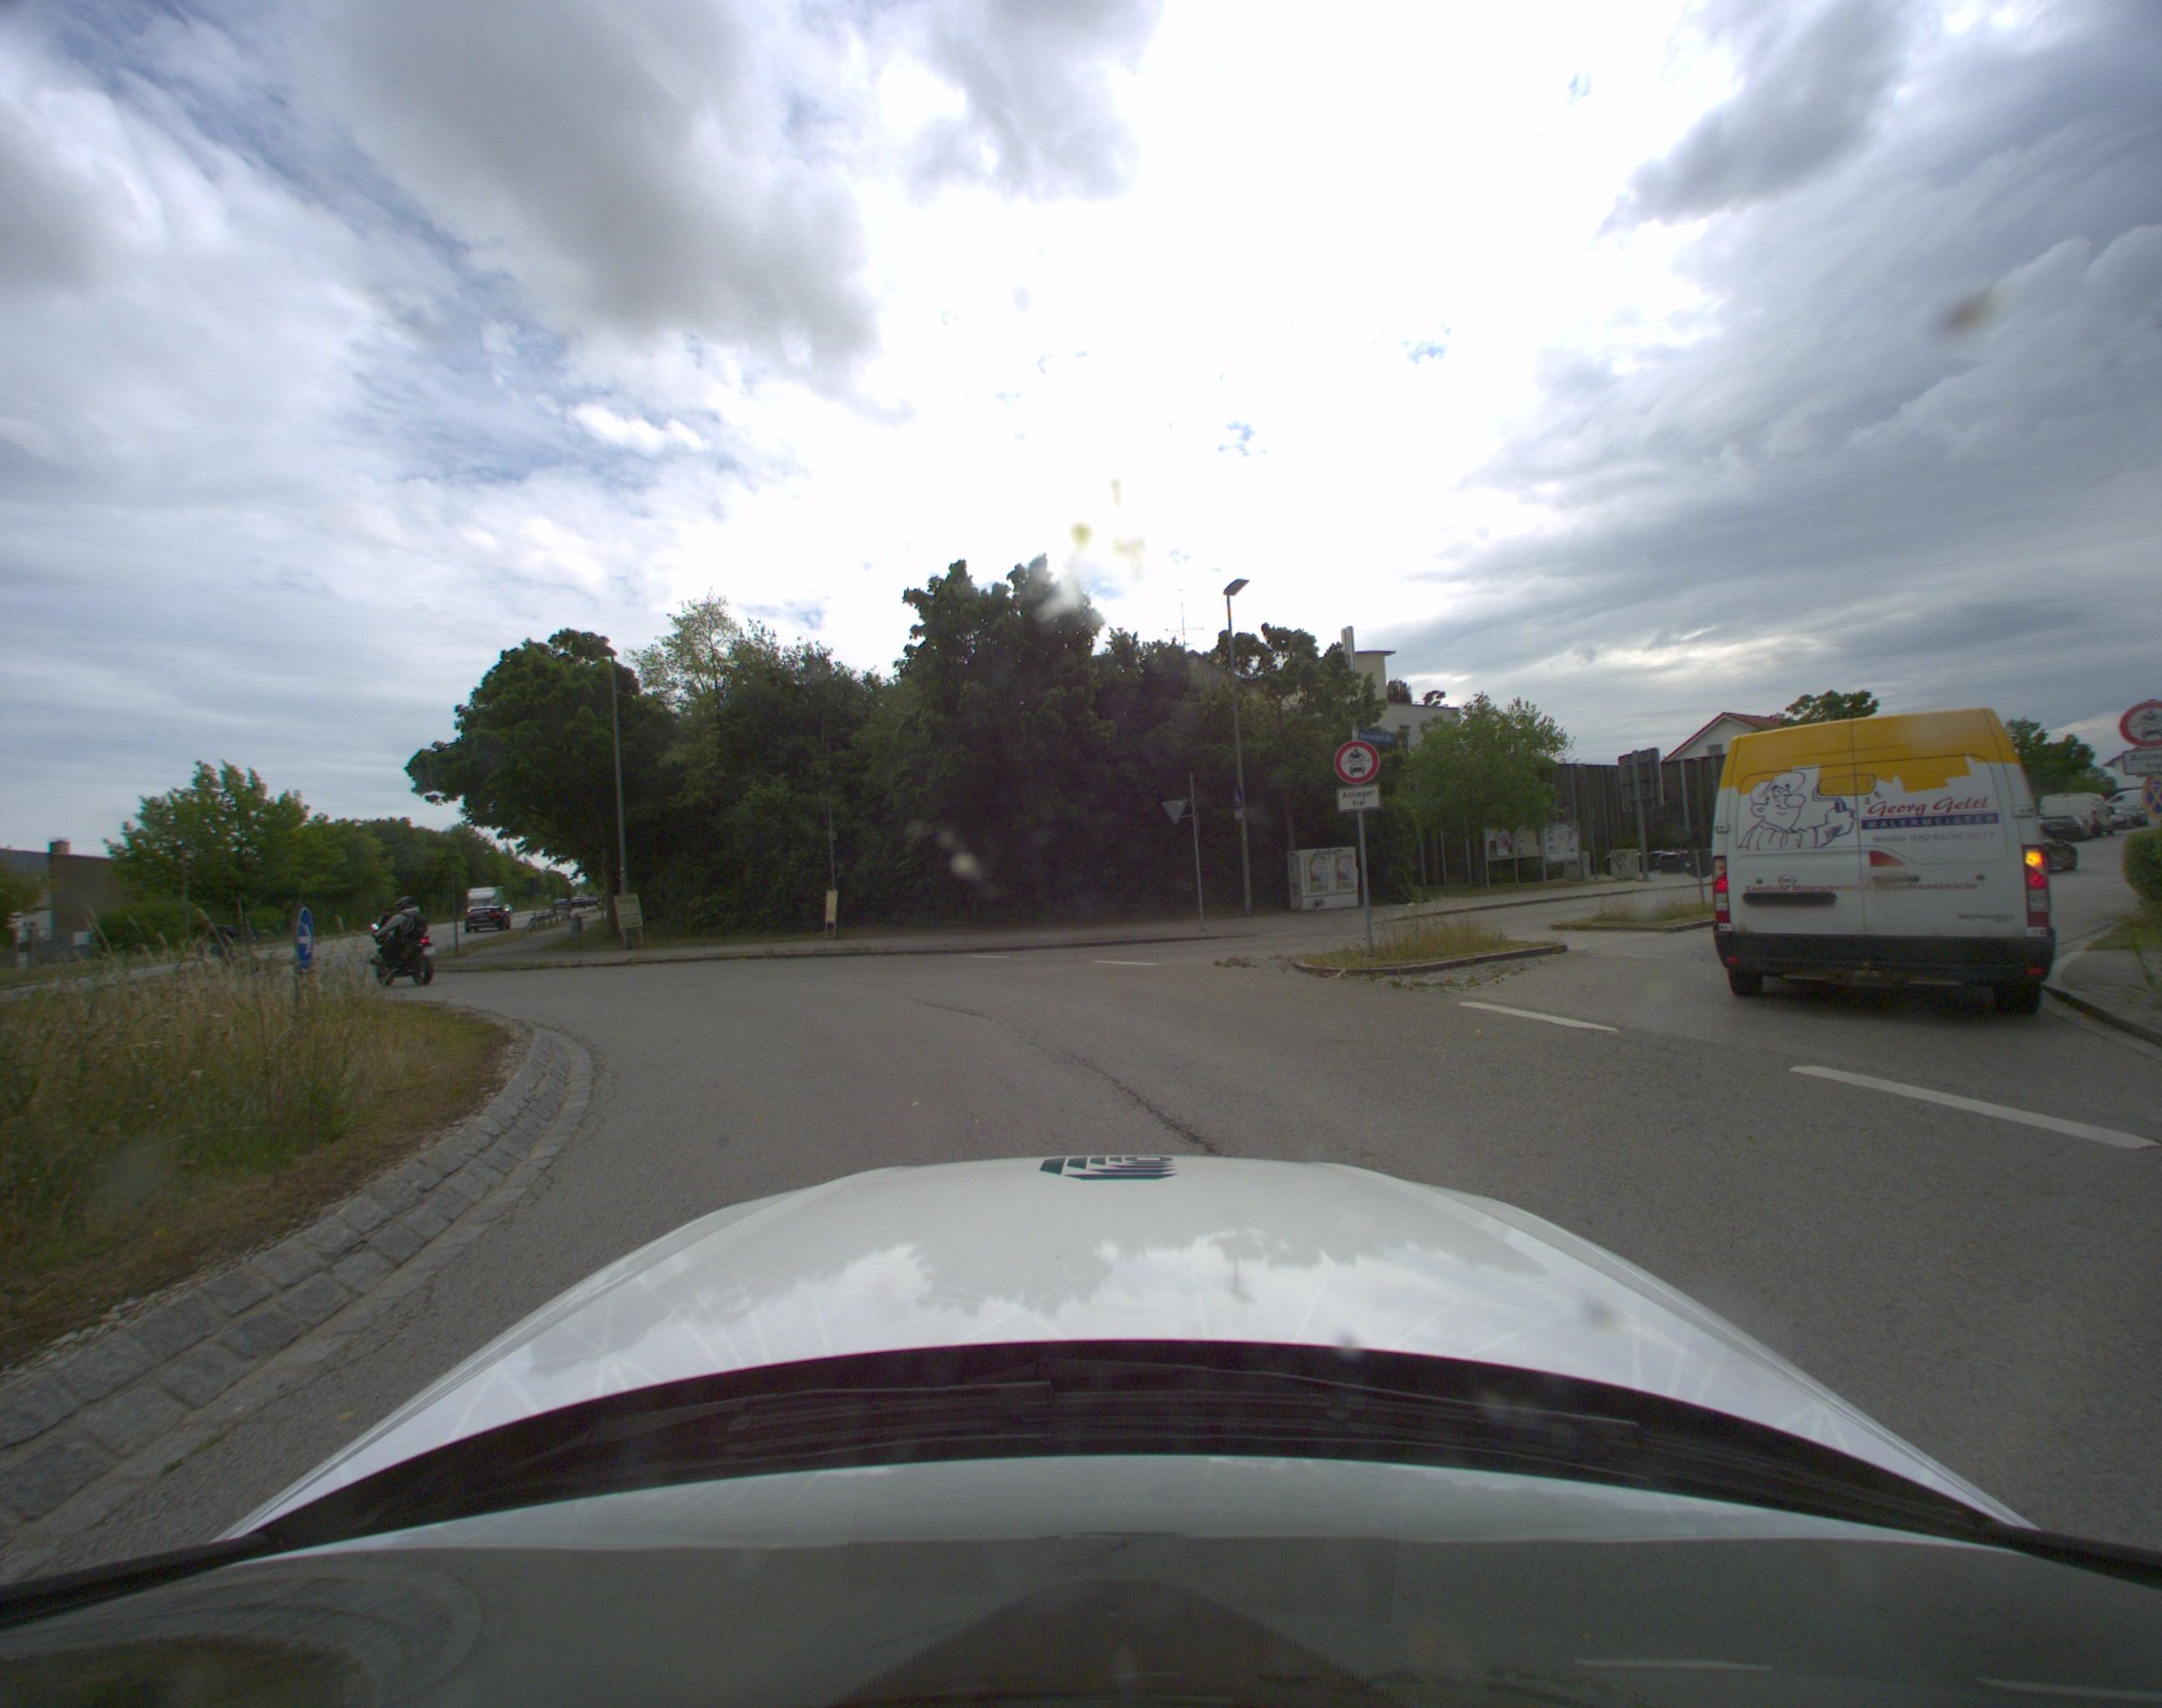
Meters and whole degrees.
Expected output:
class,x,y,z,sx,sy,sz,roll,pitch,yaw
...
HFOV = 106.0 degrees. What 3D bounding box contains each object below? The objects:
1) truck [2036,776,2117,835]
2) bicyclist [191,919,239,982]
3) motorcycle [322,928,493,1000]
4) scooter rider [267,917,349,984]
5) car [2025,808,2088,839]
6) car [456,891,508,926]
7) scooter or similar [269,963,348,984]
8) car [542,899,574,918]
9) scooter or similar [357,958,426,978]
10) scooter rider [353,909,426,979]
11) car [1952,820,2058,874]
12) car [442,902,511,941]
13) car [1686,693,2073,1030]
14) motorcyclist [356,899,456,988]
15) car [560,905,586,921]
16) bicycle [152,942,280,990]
class,x,y,z,sx,sy,sz,roll,pitch,yaw
truck,57.289,-2.738,46.850,5.430,3.077,2.147,-2,-2,-32
bicyclist,-24.954,2.756,23.489,0.651,1.723,0.924,-5,-3,44
motorcycle,-13.429,2.180,16.291,2.603,1.158,0.899,-4,-1,0
scooter rider,-21.503,2.674,22.671,1.087,1.672,1.251,-4,-1,21
car,51.425,-1.599,42.929,3.523,1.379,1.527,-3,-2,-31
car,-62.582,5.657,85.262,3.190,3.204,7.561,-4,-1,-28
scooter or similar,-21.468,3.316,22.646,1.087,0.364,1.234,-4,-1,21
car,-61.622,6.392,96.085,2.528,1.947,5.659,-4,-1,-27
scooter or similar,-20.700,3.436,24.474,1.211,0.380,1.135,-5,0,23
scooter rider,-20.763,2.681,24.475,1.211,1.909,1.135,-5,0,24
car,27.298,-0.230,24.029,4.020,1.331,1.780,-3,-1,-38
car,-36.328,4.015,49.132,2.529,1.947,5.656,-4,-1,-29
car,8.212,0.047,8.641,2.142,2.452,5.475,-4,-1,43
motorcyclist,-13.481,1.763,16.301,1.183,1.623,0.864,-4,-1,0
car,-73.273,8.432,117.509,2.528,1.947,5.659,-4,-1,-27
bicycle,-24.915,3.204,23.538,0.761,1.089,2.521,-5,-3,44
